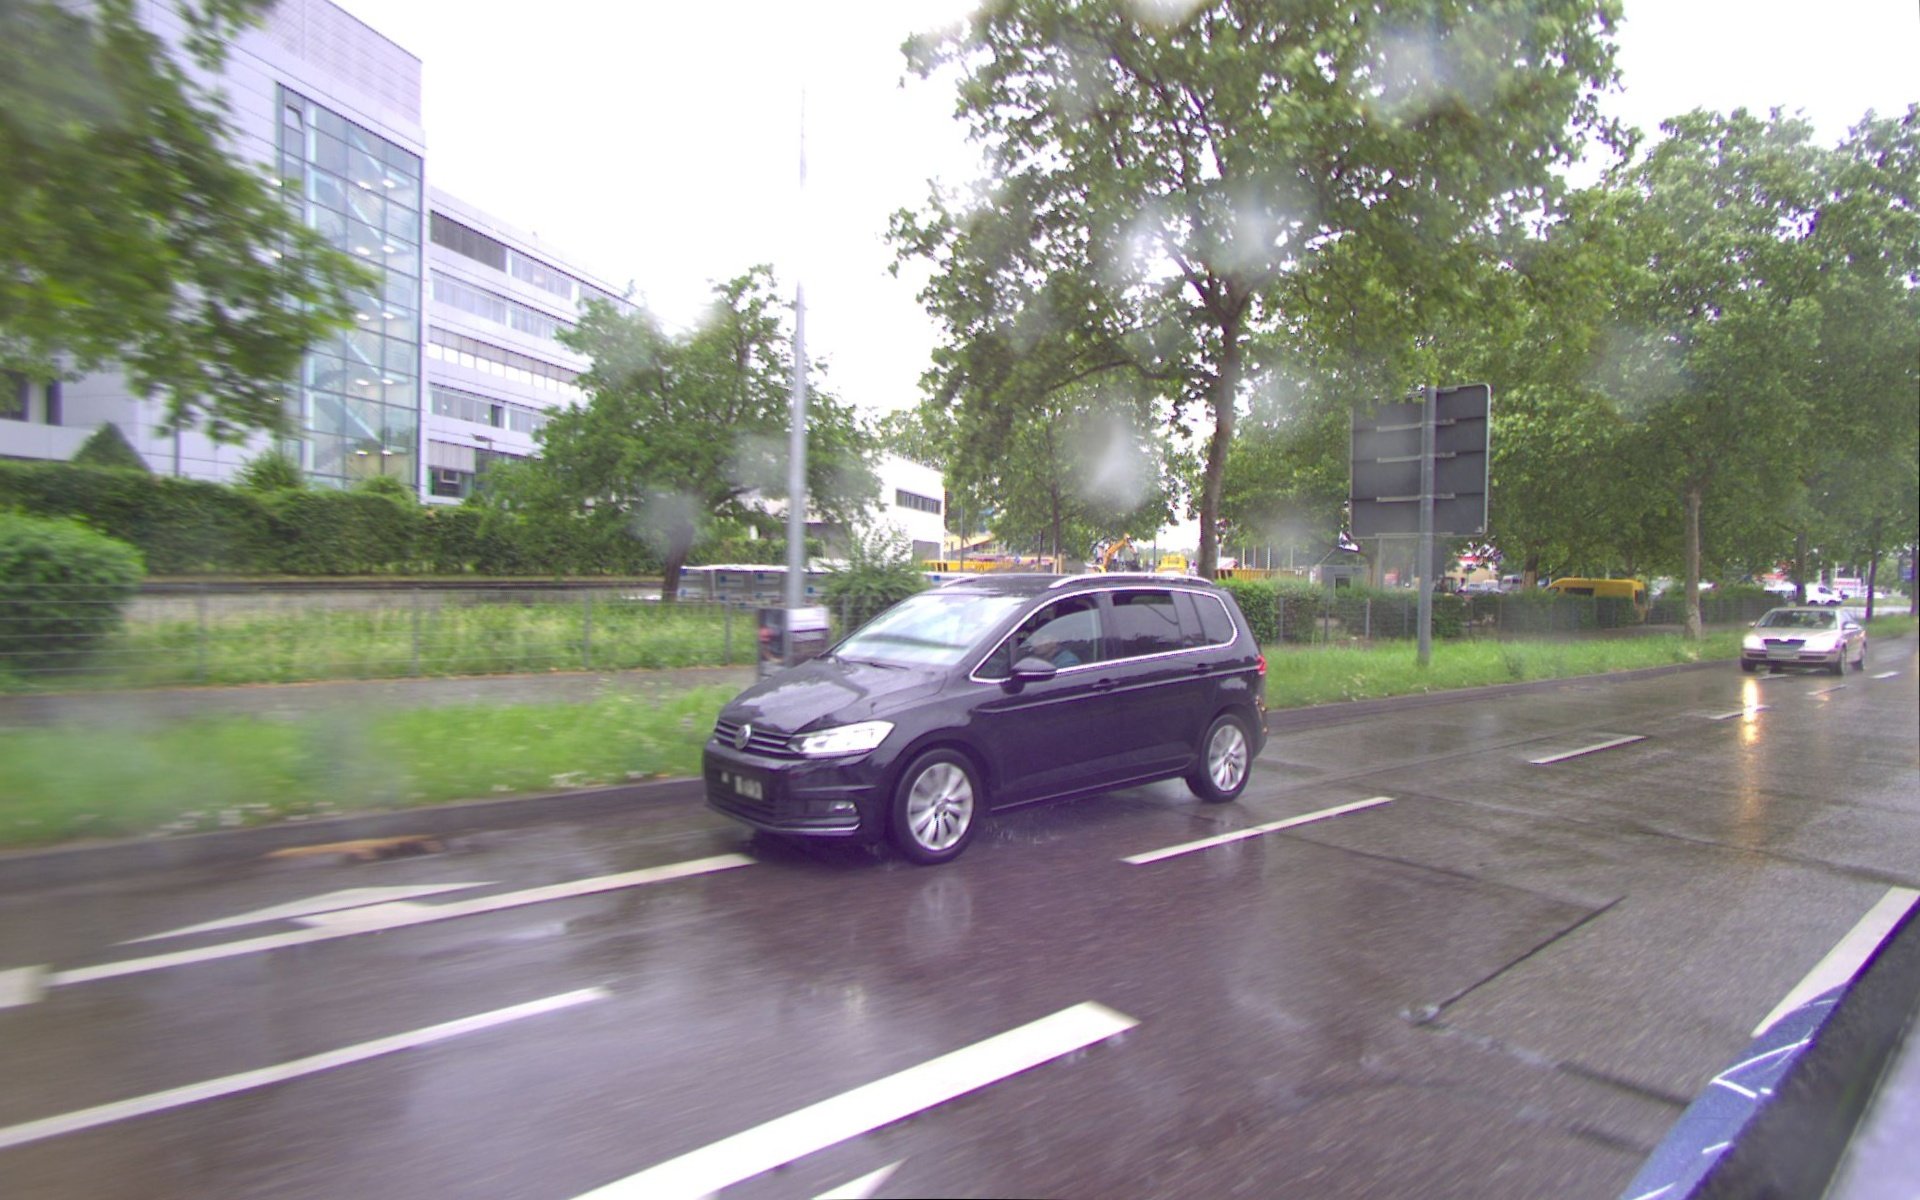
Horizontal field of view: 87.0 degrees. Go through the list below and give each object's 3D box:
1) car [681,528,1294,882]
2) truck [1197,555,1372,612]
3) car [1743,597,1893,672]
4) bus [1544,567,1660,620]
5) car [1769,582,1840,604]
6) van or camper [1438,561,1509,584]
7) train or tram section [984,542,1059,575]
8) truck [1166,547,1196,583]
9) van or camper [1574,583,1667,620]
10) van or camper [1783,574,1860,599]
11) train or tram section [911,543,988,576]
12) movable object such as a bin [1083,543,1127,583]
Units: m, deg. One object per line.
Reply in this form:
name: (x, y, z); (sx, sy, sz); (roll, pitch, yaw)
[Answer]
car: (0.384, 0.487, 7.055); (4.117, 1.748, 1.860); (-1, 1, -41)
truck: (18.515, -0.941, 58.329); (9.364, 3.069, 3.068); (0, 1, 15)
car: (19.217, 0.686, 22.610); (4.308, 1.448, 1.806); (-1, 2, -40)
bus: (33.877, -0.395, 53.484); (1.964, 2.680, 4.805); (0, 1, -38)
car: (74.007, -0.620, 88.742); (4.393, 1.693, 1.862); (2, 2, 12)
van or camper: (76.344, -4.096, 150.594); (8.851, 3.196, 2.974); (0, 1, 15)
train or tram section: (6.937, -4.638, 113.906); (8.242, 3.563, 2.392); (0, 1, 13)
truck: (22.117, -3.480, 101.050); (2.460, 3.386, 9.429); (0, 2, 15)
van or camper: (36.057, 0.058, 55.288); (1.772, 1.931, 3.991); (0, 1, -43)
van or camper: (77.656, -1.227, 91.286); (4.833, 2.114, 1.862); (2, 2, 12)
train or tram section: (-1.207, -4.587, 115.752); (8.400, 3.563, 2.392); (0, 1, 13)
movable object such as a bin: (13.503, -3.432, 94.225); (3.253, 3.670, 3.617); (1, 2, -5)
